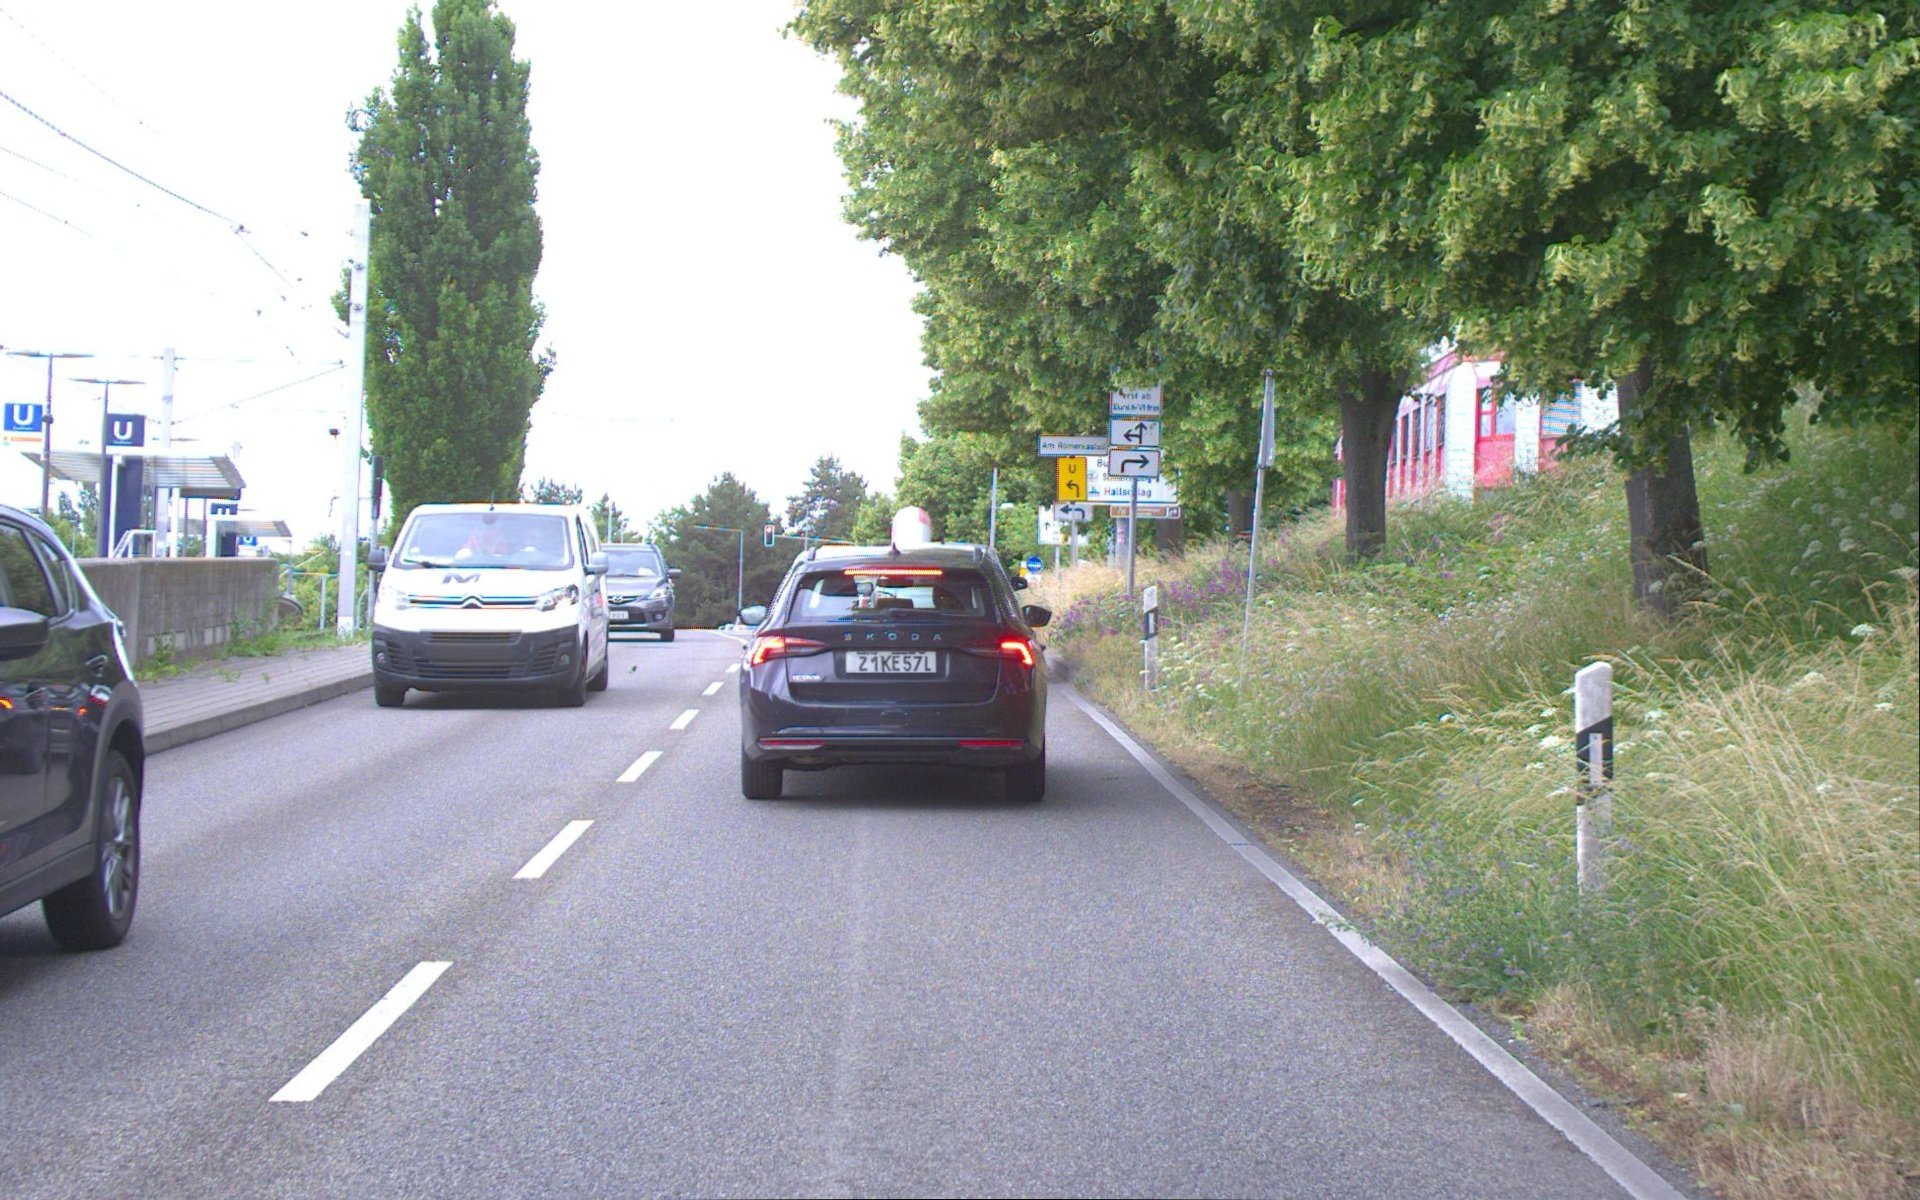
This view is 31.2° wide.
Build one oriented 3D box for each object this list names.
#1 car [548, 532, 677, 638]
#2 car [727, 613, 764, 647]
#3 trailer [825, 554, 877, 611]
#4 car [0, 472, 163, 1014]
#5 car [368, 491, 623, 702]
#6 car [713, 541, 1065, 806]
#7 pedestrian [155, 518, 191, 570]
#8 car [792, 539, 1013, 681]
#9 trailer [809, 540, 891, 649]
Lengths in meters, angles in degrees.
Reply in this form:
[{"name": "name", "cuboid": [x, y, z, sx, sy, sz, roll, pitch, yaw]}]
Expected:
[{"name": "car", "cuboid": [-5.647, -0.272, 56.264, 1.823, 1.651, 4.246, 1, 1, -2]}, {"name": "car", "cuboid": [-9.088, 1.259, 145.644, 1.525, 1.349, 3.491, 1, 1, -4]}, {"name": "trailer", "cuboid": [-3.212, -0.499, 101.081, 1.409, 1.588, 3.303, 1, -1, -4]}, {"name": "car", "cuboid": [-3.878, 0.433, 11.050, 1.777, 1.681, 4.066, 0, 2, -1]}, {"name": "car", "cuboid": [-4.302, -0.057, 32.524, 1.896, 1.827, 4.906, -1, 1, -2]}, {"name": "car", "cuboid": [-0.323, 0.363, 20.826, 1.836, 1.427, 4.278, 0, 1, 3]}, {"name": "pedestrian", "cuboid": [-18.596, -1.315, 81.241, 0.761, 1.195, 0.665, 1, -1, -8]}, {"name": "car", "cuboid": [-0.681, 0.074, 37.717, 1.622, 1.452, 3.690, 0, 1, -14]}, {"name": "trailer", "cuboid": [-4.319, -0.143, 133.377, 2.565, 3.694, 7.763, 1, -4, -6]}]
